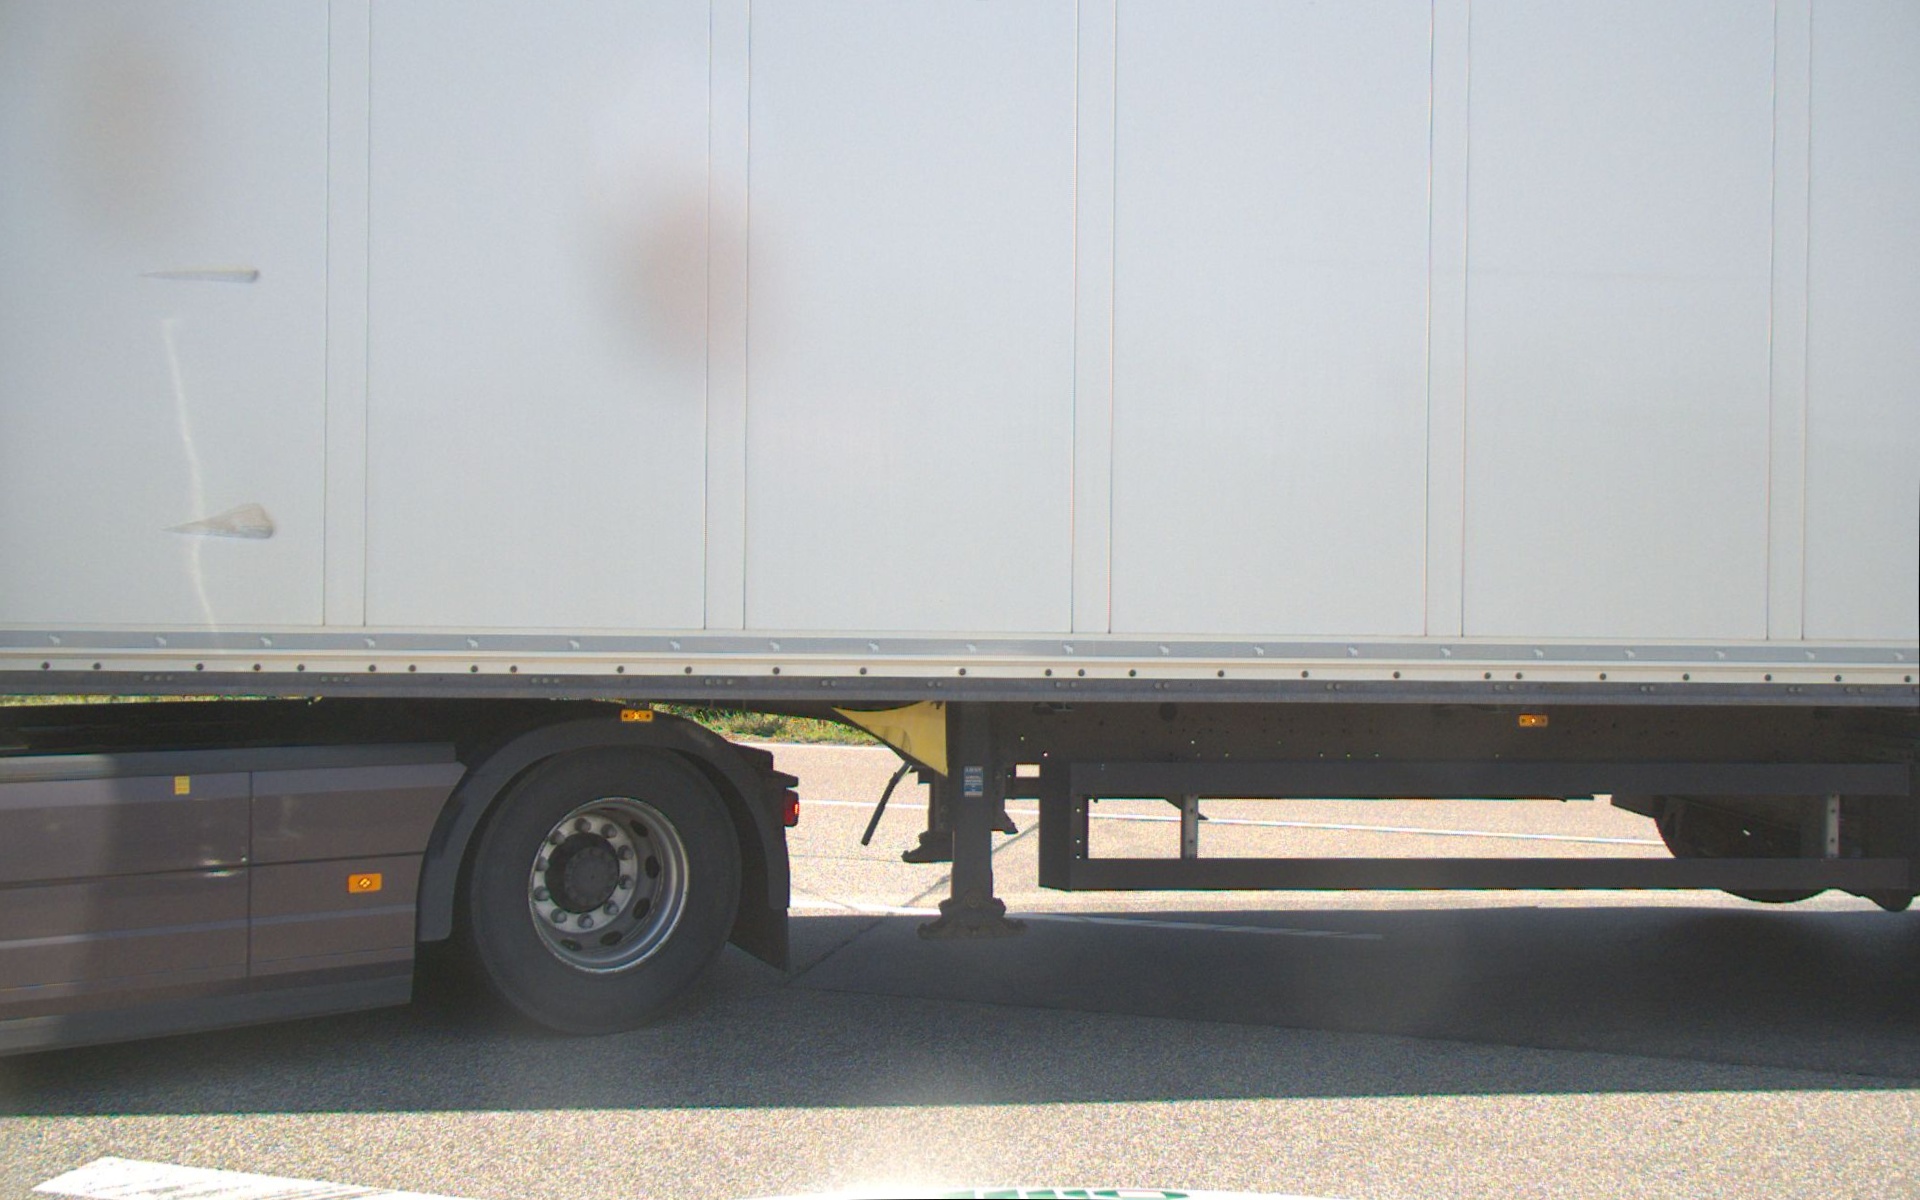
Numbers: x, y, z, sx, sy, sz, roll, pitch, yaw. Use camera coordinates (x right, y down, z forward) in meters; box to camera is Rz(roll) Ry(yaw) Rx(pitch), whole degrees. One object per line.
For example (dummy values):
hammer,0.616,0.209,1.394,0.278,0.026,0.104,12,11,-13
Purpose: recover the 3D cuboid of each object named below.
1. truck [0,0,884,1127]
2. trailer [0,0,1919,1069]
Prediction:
truck,-3.512,-0.732,5.489,5.890,4.247,2.850,1,-1,-31
trailer,2.900,-0.680,6.822,13.658,4.238,2.895,0,0,-4
